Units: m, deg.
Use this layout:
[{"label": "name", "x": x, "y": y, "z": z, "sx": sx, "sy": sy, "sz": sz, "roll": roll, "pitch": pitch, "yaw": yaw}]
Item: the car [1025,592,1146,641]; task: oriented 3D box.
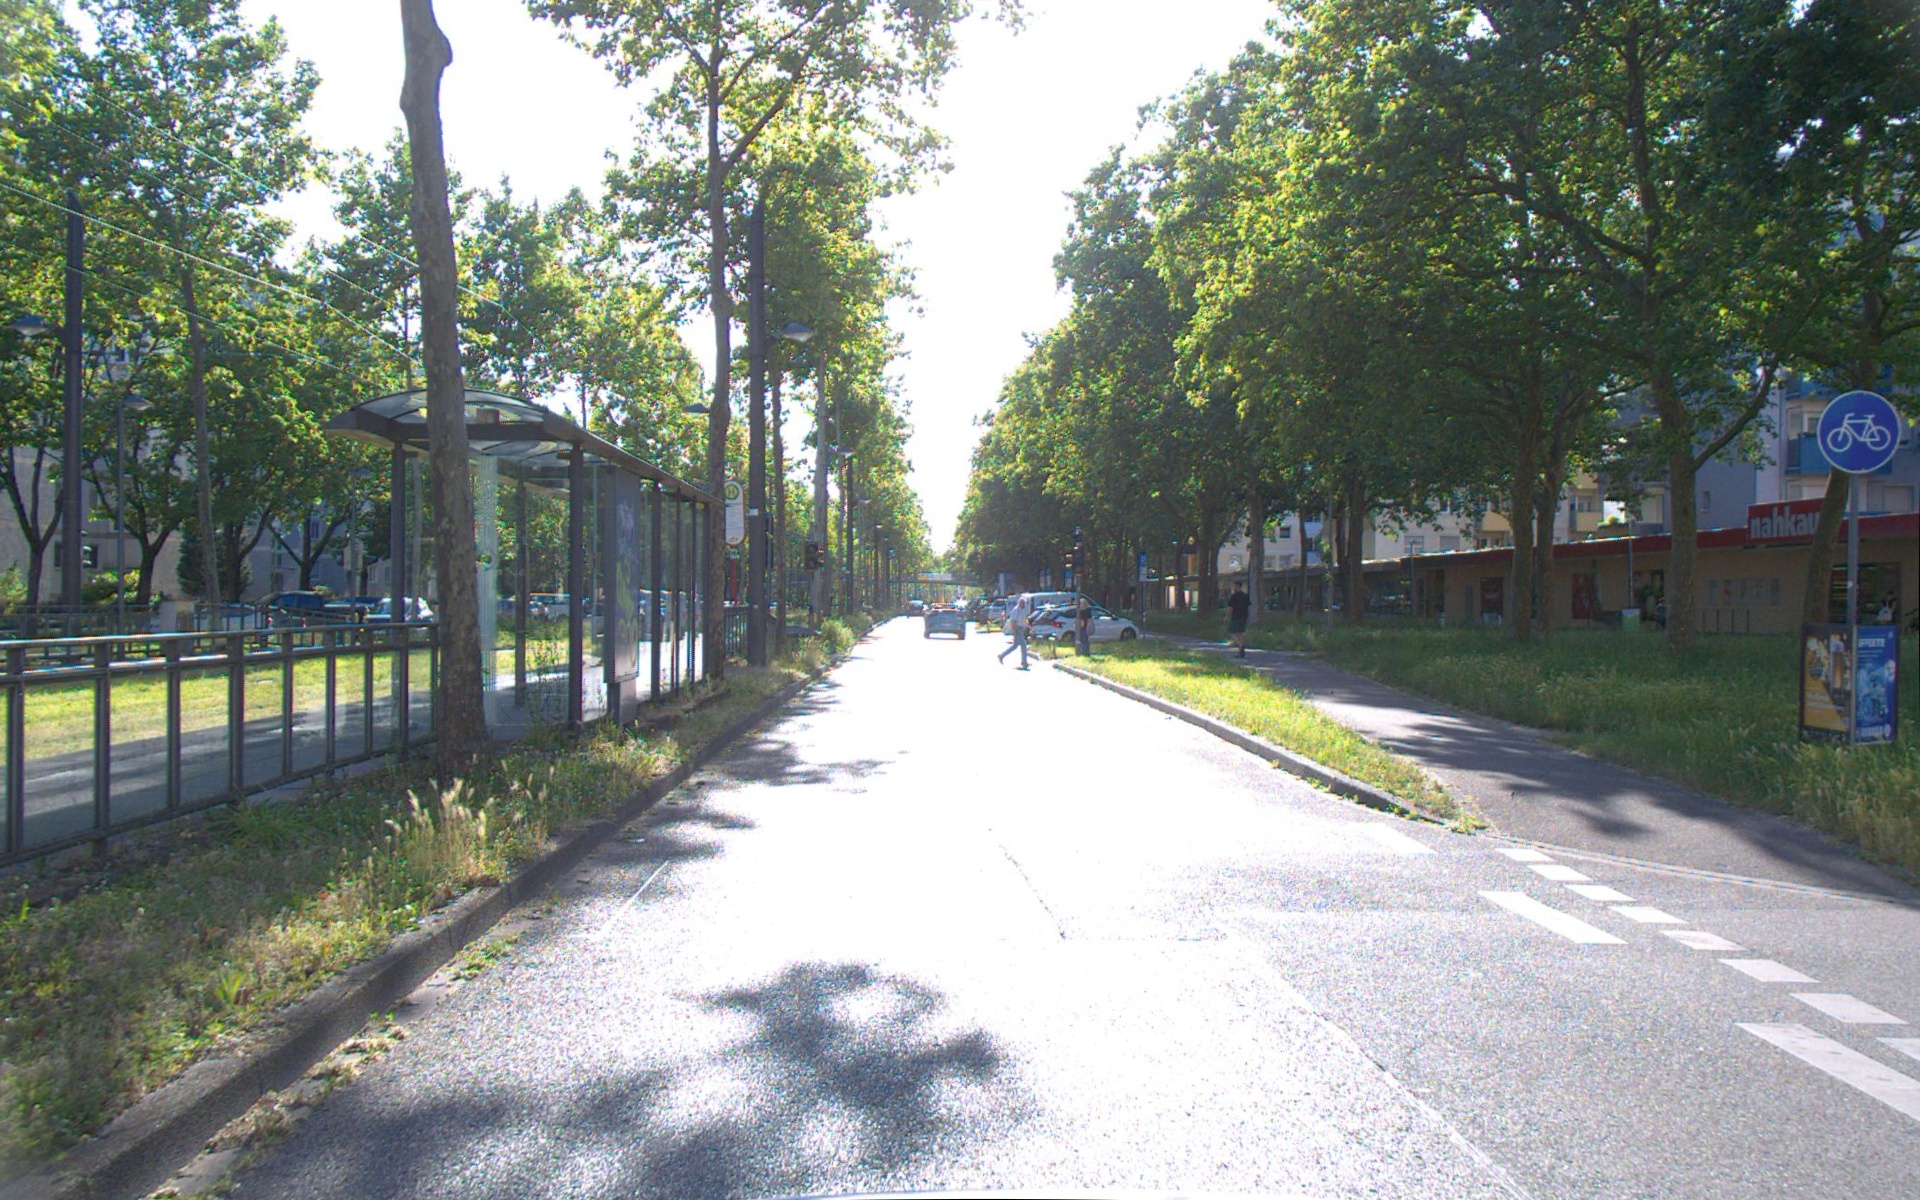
[{"label": "car", "x": 4.359, "y": 0.559, "z": 57.284, "sx": 3.949, "sy": 1.495, "sz": 1.741, "roll": -2, "pitch": 1, "yaw": -33}]

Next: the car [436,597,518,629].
[{"label": "car", "x": -26.580, "y": 0.718, "z": 91.006, "sx": 4.052, "sy": 1.675, "sz": 1.625, "roll": 0, "pitch": -2, "yaw": -44}]

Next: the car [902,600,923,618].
[{"label": "car", "x": -4.148, "y": 0.779, "z": 145.676, "sx": 1.812, "sy": 1.562, "sz": 3.865, "roll": 0, "pitch": 0, "yaw": -1}]

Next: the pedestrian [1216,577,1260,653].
[{"label": "pedestrian", "x": 7.055, "y": 0.372, "z": 41.973, "sx": 0.783, "sy": 1.918, "sz": 0.926, "roll": 0, "pitch": 0, "yaw": 33}]

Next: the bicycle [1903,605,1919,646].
[{"label": "bicycle", "x": 28.720, "y": 0.756, "z": 49.655, "sx": 0.585, "sy": 1.200, "sz": 1.849, "roll": 1, "pitch": 0, "yaw": 26}]

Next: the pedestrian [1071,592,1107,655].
[{"label": "pedestrian", "x": 3.586, "y": 0.648, "z": 45.968, "sx": 0.704, "sy": 1.736, "sz": 0.646, "roll": -1, "pitch": -1, "yaw": -36}]

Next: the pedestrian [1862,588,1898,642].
[{"label": "pedestrian", "x": 27.674, "y": 0.454, "z": 49.755, "sx": 0.658, "sy": 1.612, "sz": 0.715, "roll": 0, "pitch": 1, "yaw": -7}]

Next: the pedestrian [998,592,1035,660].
[{"label": "pedestrian", "x": 1.481, "y": 0.663, "z": 43.072, "sx": 0.824, "sy": 1.752, "sz": 0.831, "roll": 0, "pitch": 0, "yaw": 13}]

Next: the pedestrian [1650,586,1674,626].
[{"label": "pedestrian", "x": 25.693, "y": 0.225, "z": 60.569, "sx": 0.521, "sy": 1.455, "sz": 0.715, "roll": 0, "pitch": 1, "yaw": -7}]

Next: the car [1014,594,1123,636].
[{"label": "car", "x": 4.200, "y": 0.569, "z": 63.810, "sx": 3.949, "sy": 1.454, "sz": 1.779, "roll": -2, "pitch": 1, "yaw": -33}]

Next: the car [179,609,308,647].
[{"label": "car", "x": -24.962, "y": 0.957, "z": 57.685, "sx": 3.796, "sy": 1.268, "sz": 1.811, "roll": 0, "pitch": 0, "yaw": -44}]

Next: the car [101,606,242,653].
[{"label": "car", "x": -25.723, "y": 0.932, "z": 54.041, "sx": 1.806, "sy": 1.460, "sz": 3.807, "roll": 0, "pitch": 0, "yaw": 39}]

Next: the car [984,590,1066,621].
[{"label": "car", "x": 3.232, "y": 0.270, "z": 81.961, "sx": 1.692, "sy": 1.437, "sz": 4.155, "roll": -1, "pitch": 0, "yaw": 45}]

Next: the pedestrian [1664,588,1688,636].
[{"label": "pedestrian", "x": 26.285, "y": 0.444, "z": 60.726, "sx": 0.485, "sy": 1.730, "sz": 0.715, "roll": 0, "pitch": 1, "yaw": -7}]

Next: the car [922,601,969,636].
[{"label": "car", "x": -0.657, "y": 0.773, "z": 71.874, "sx": 1.883, "sy": 1.436, "sz": 3.998, "roll": 1, "pitch": 0, "yaw": -2}]

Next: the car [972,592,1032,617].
[{"label": "car", "x": 2.613, "y": 0.300, "z": 103.431, "sx": 1.624, "sy": 1.496, "sz": 3.760, "roll": -1, "pitch": 0, "yaw": 45}]

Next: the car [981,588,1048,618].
[{"label": "car", "x": 3.300, "y": 0.162, "z": 100.173, "sx": 3.995, "sy": 1.735, "sz": 1.733, "roll": -1, "pitch": 0, "yaw": -43}]

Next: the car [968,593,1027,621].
[{"label": "car", "x": 2.613, "y": 0.468, "z": 113.803, "sx": 4.050, "sy": 1.842, "sz": 1.626, "roll": -1, "pitch": 0, "yaw": -42}]

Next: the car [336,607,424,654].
[{"label": "car", "x": -20.436, "y": 1.041, "z": 58.448, "sx": 1.678, "sy": 1.573, "sz": 3.933, "roll": 0, "pitch": 0, "yaw": 0}]

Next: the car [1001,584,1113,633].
[{"label": "car", "x": 3.982, "y": 0.338, "z": 67.461, "sx": 4.631, "sy": 1.885, "sz": 1.803, "roll": -1, "pitch": 0, "yaw": -42}]
